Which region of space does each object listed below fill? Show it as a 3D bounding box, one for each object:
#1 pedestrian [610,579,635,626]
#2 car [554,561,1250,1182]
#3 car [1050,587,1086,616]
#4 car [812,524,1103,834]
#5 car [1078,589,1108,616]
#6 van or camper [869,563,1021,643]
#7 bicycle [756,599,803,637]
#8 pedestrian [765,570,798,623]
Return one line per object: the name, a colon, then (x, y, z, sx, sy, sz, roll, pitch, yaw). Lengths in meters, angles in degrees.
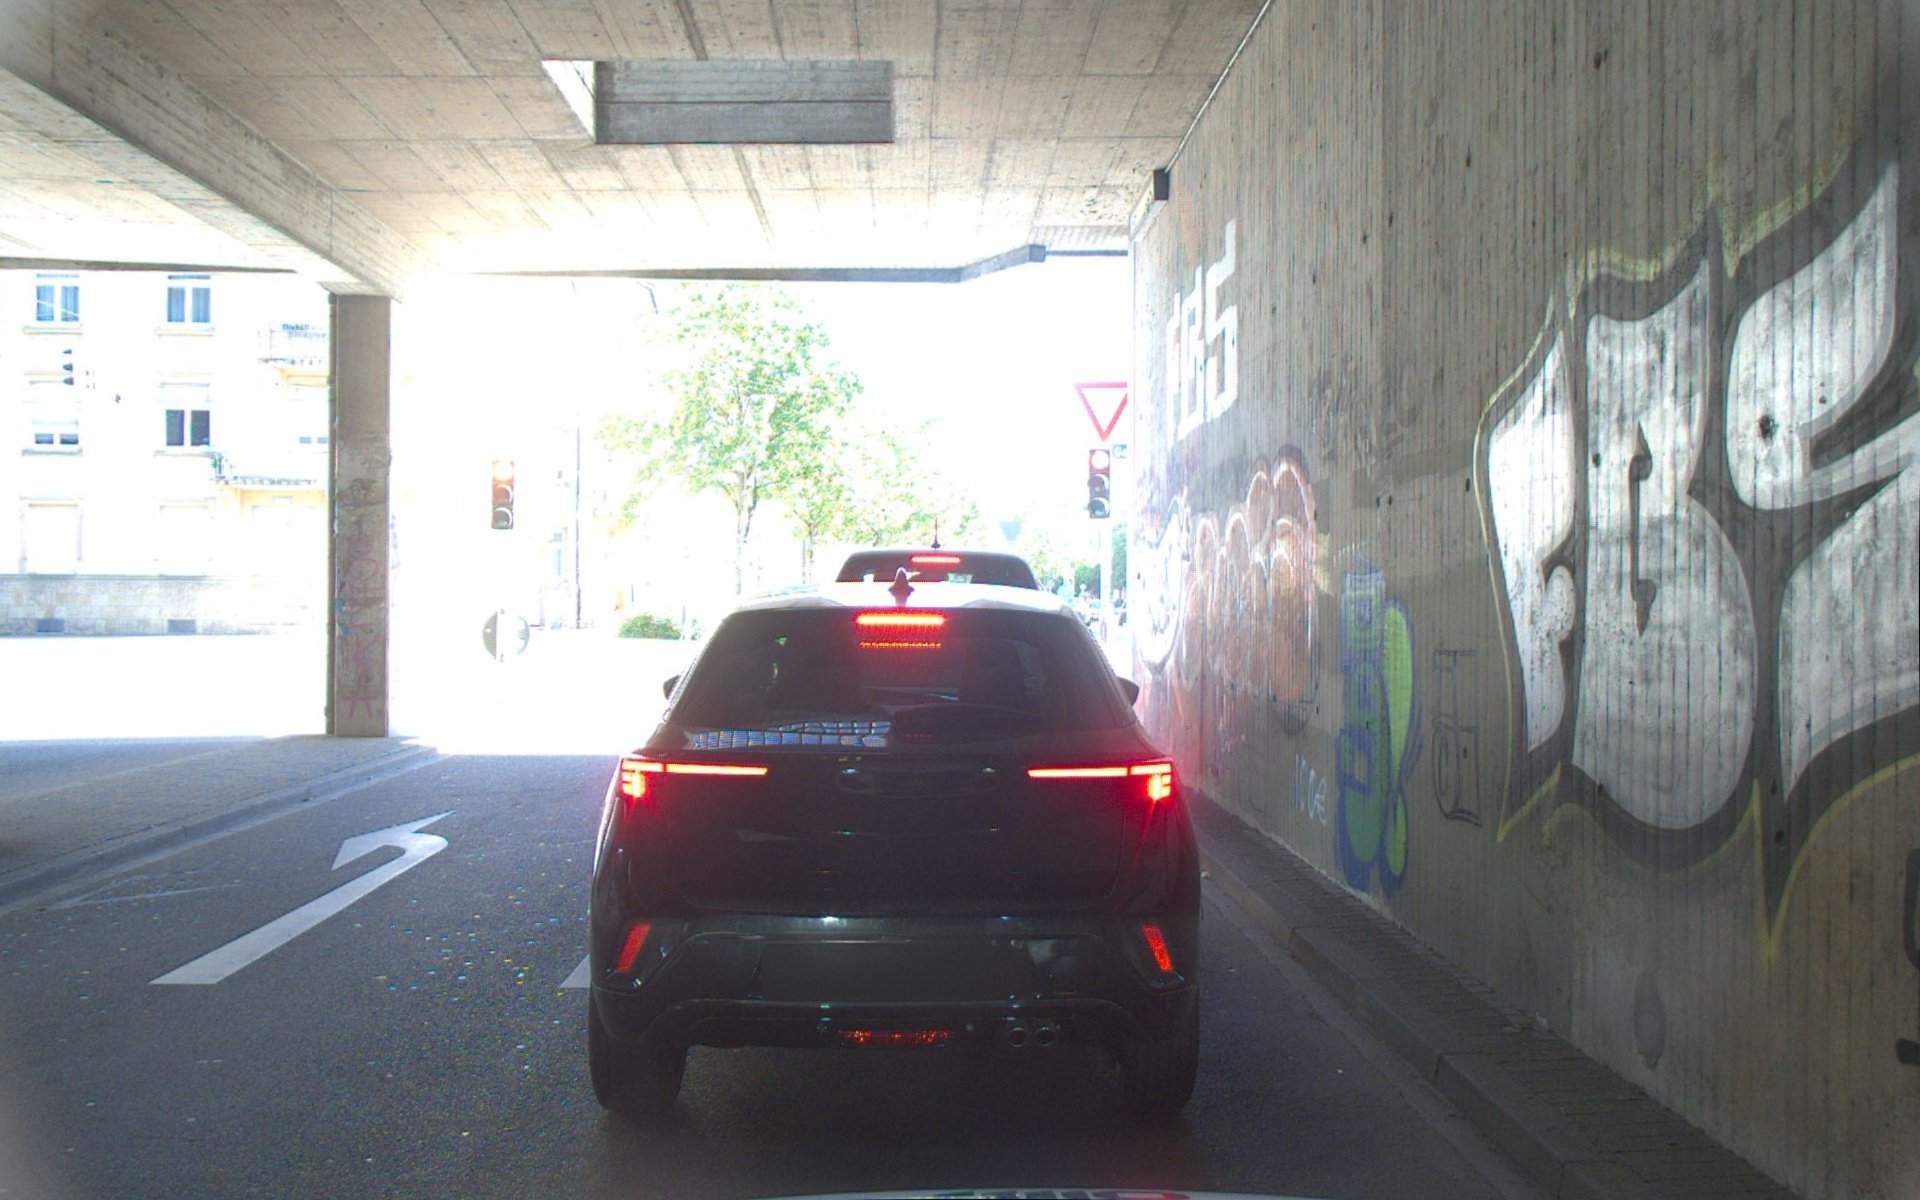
pedestrian: (-12.578, 0.086, 61.677, 0.609, 1.734, 0.723, 1, -1, 16)
car: (-0.157, 0.672, 6.145, 1.718, 1.525, 4.000, 1, 0, -1)
car: (5.699, 0.064, 87.102, 1.564, 1.477, 3.798, 0, 0, 8)
car: (-0.038, 0.475, 12.077, 1.749, 1.865, 3.960, 1, 0, -1)
car: (8.280, 0.154, 102.977, 1.550, 1.668, 3.809, 0, 0, 9)
van or camper: (-0.361, 0.081, 43.561, 3.795, 2.049, 2.002, 0, 0, 7)
bicycle: (-5.573, 0.543, 51.243, 0.721, 1.150, 2.027, 0, 0, 16)
pedestrian: (-5.546, -0.102, 51.329, 0.720, 1.612, 0.891, 1, -1, 15)
